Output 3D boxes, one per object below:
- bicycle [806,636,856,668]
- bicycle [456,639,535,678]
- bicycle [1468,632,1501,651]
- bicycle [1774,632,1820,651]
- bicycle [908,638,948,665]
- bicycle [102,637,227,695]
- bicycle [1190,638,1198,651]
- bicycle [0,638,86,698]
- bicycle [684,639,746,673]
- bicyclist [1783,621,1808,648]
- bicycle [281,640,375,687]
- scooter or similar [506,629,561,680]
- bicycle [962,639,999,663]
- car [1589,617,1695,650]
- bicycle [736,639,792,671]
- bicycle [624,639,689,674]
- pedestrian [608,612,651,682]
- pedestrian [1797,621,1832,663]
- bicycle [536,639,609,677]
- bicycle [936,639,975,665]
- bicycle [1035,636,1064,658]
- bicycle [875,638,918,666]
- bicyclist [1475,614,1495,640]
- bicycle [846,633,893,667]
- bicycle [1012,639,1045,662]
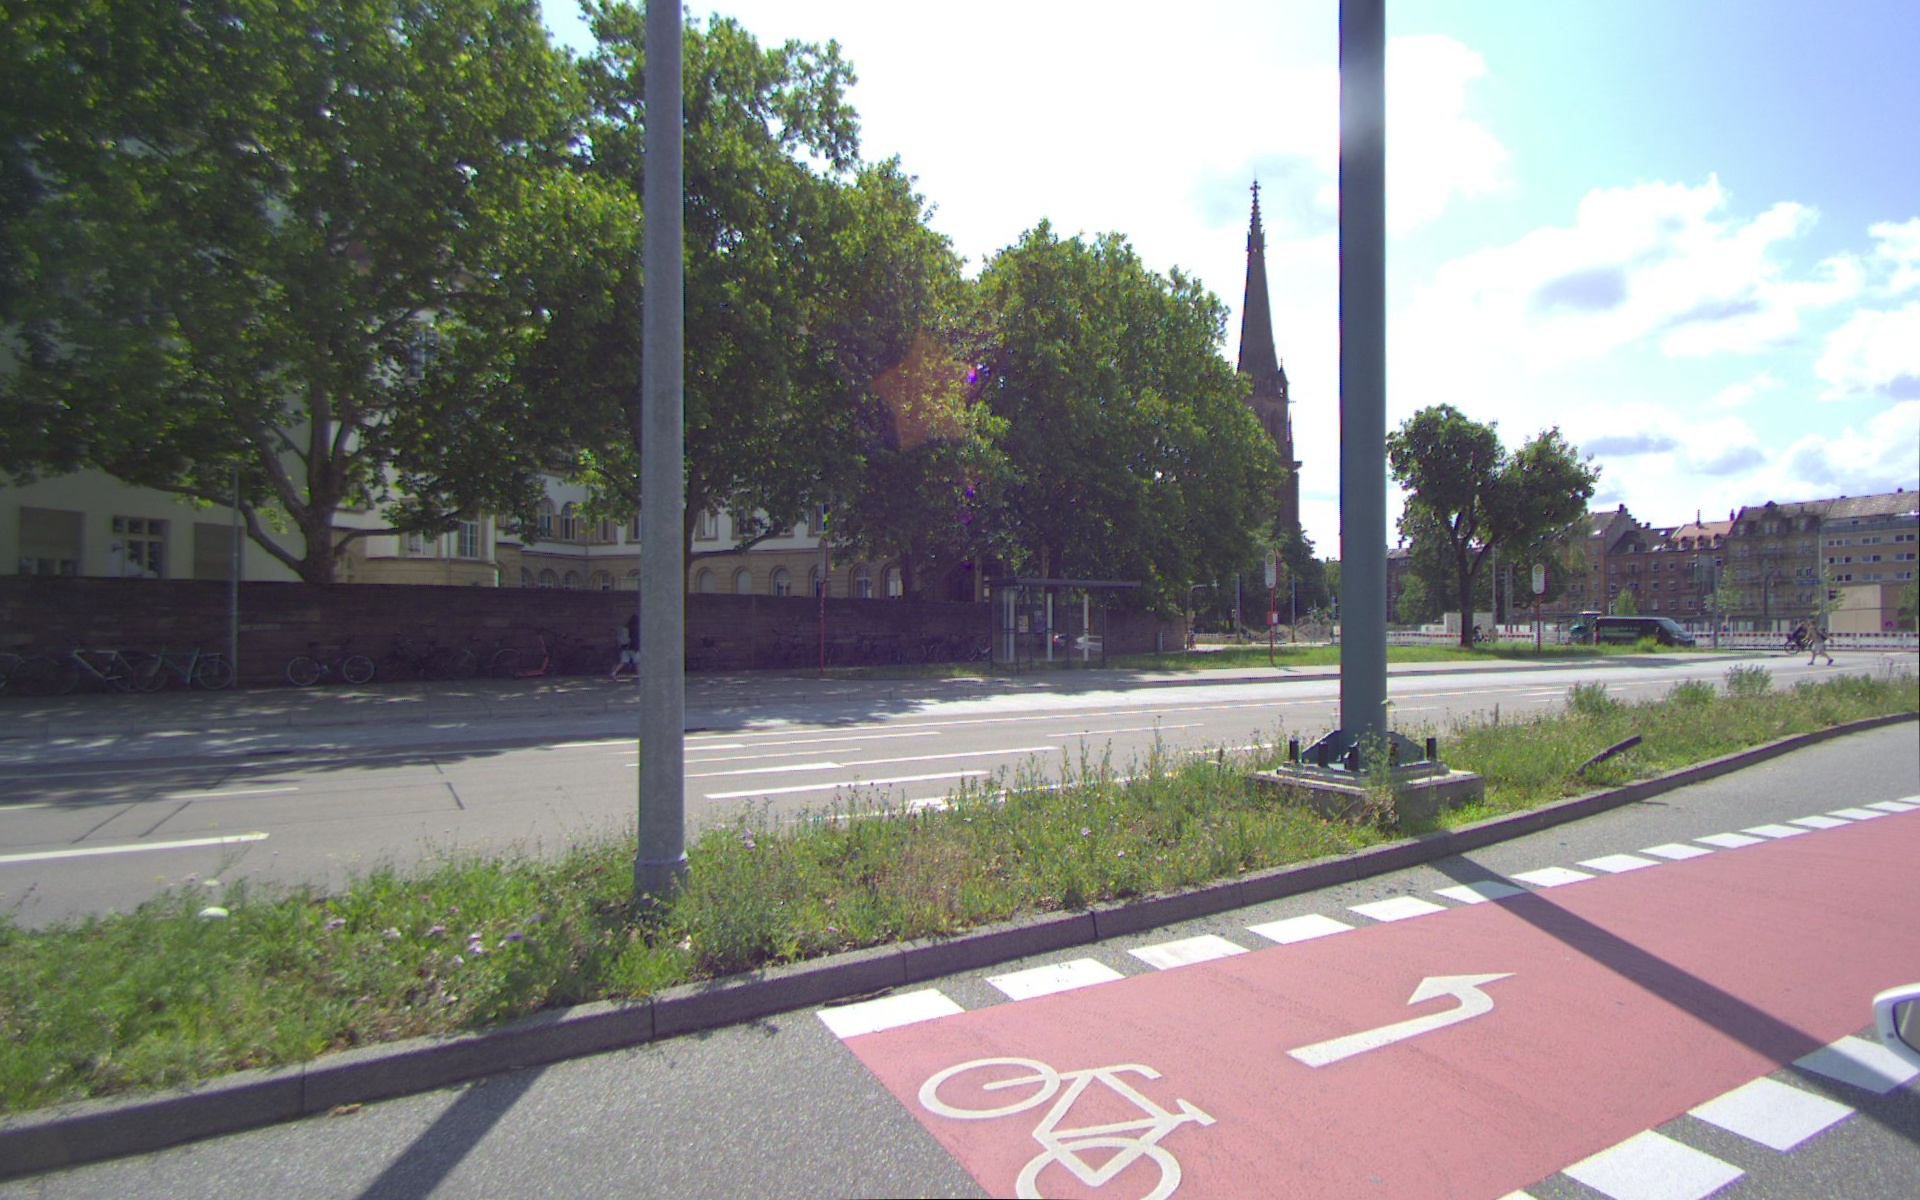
[{"bbox_3d":[-4.161,1.661,32.392,0.537,0.964,1.656,-1,-1,42],"label":"bicycle"},{"bbox_3d":[-11.235,1.407,24.325,1.653,0.914,0.538,2,-2,-43],"label":"bicycle"},{"bbox_3d":[37.306,2.928,71.457,0.598,1.307,2.049,1,-1,-37],"label":"bicycle"},{"bbox_3d":[46.969,2.324,56.398,0.543,1.044,1.906,1,-1,-37],"label":"bicycle"},{"bbox_3d":[-1.156,1.861,36.502,0.537,0.914,1.658,0,-1,38],"label":"bicycle"},{"bbox_3d":[-15.607,1.277,19.737,1.882,1.061,0.538,1,-1,-43],"label":"bicycle"},{"bbox_3d":[16.167,3.070,69.382,0.534,0.914,1.666,0,-1,11],"label":"bicycle"},{"bbox_3d":[-17.250,1.238,18.325,1.936,1.061,0.538,1,-1,-43],"label":"bicycle"},{"bbox_3d":[-6.993,1.587,28.696,1.648,0.914,0.498,1,-1,-35],"label":"bicycle"},{"bbox_3d":[46.936,1.909,56.415,0.546,1.493,0.961,1,-1,-37],"label":"bicyclist"},{"bbox_3d":[-13.562,1.344,21.584,1.653,0.962,0.538,1,-1,-43],"label":"bicycle"},{"bbox_3d":[-10.312,1.300,24.309,0.426,1.199,1.188,-1,-1,38],"label":"scooter or similar"},{"bbox_3d":[0.814,1.981,39.364,0.446,0.914,1.786,0,-1,38],"label":"bicycle"},{"bbox_3d":[40.954,1.952,60.458,1.908,1.904,4.979,0,-1,-33],"label":"car"},{"bbox_3d":[-5.908,1.652,30.269,0.538,0.914,1.655,-1,-1,44],"label":"bicycle"},{"bbox_3d":[-8.315,1.543,27.533,0.538,0.914,1.655,-1,-1,44],"label":"bicycle"},{"bbox_3d":[-7.967,1.111,24.191,0.607,1.638,0.754,1,0,38],"label":"pedestrian"},{"bbox_3d":[32.366,1.579,38.058,0.858,1.580,0.556,0,-1,16],"label":"pedestrian"},{"bbox_3d":[-9.899,1.461,25.679,1.653,0.914,0.538,1,-1,-43],"label":"bicycle"},{"bbox_3d":[-0.151,1.948,37.863,0.537,0.914,1.658,0,-1,38],"label":"bicycle"},{"bbox_3d":[3.935,2.050,44.053,0.536,0.914,1.661,0,-1,34],"label":"bicycle"},{"bbox_3d":[-2.196,1.798,35.132,0.537,0.914,1.658,0,-1,38],"label":"bicycle"},{"bbox_3d":[37.432,1.915,71.628,0.588,1.869,1.111,0,-1,-37],"label":"bicyclist"},{"bbox_3d":[-3.024,1.661,33.637,0.537,1.065,1.615,-1,-1,42],"label":"bicycle"},{"bbox_3d":[2.881,2.131,42.252,0.537,0.914,1.658,0,-1,38],"label":"bicycle"}]
